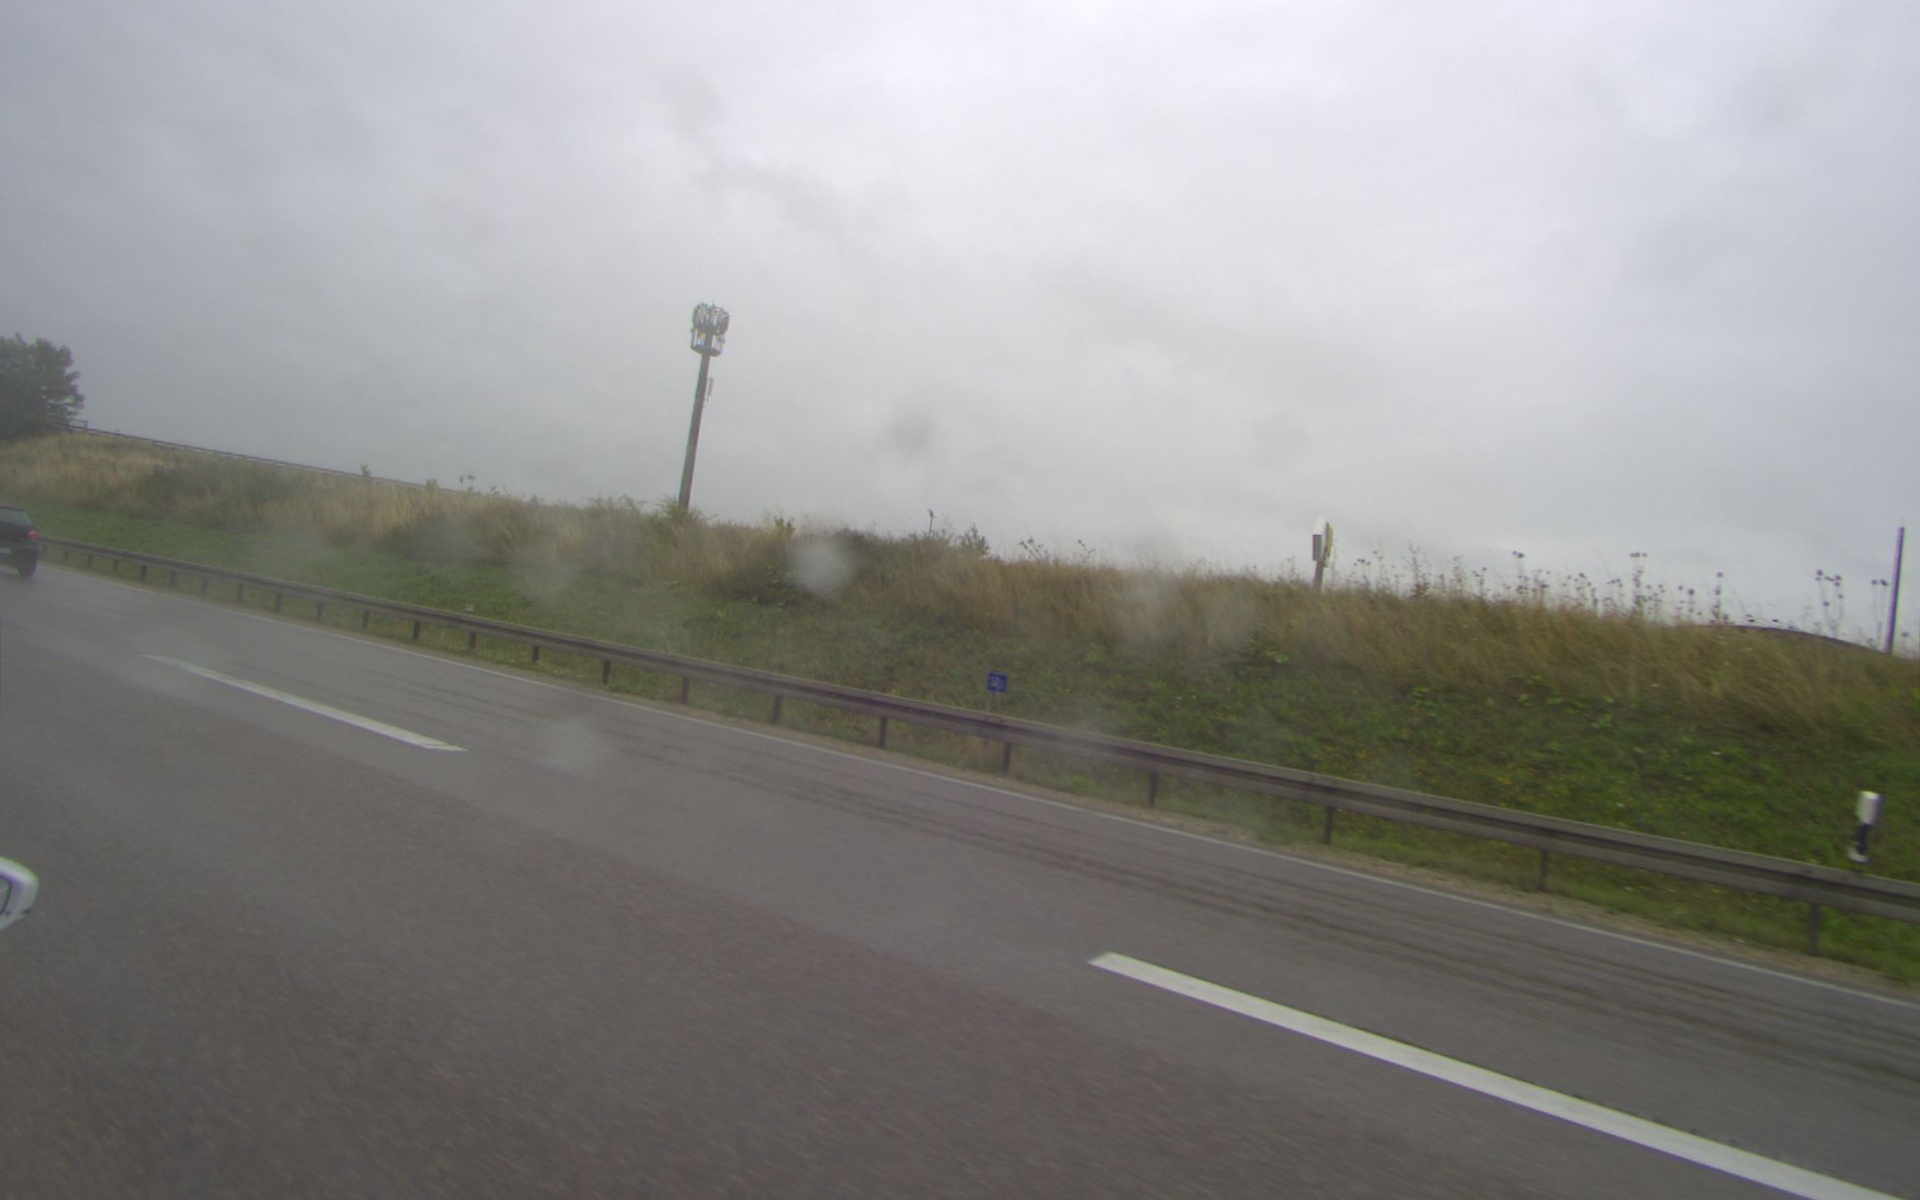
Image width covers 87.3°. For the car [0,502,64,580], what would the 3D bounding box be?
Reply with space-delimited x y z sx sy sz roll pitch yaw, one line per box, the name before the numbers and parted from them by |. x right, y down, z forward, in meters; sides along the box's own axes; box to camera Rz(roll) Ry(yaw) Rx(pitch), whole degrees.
car | -20.610 -1.389 20.967 3.596 1.437 1.736 7 -2 30
